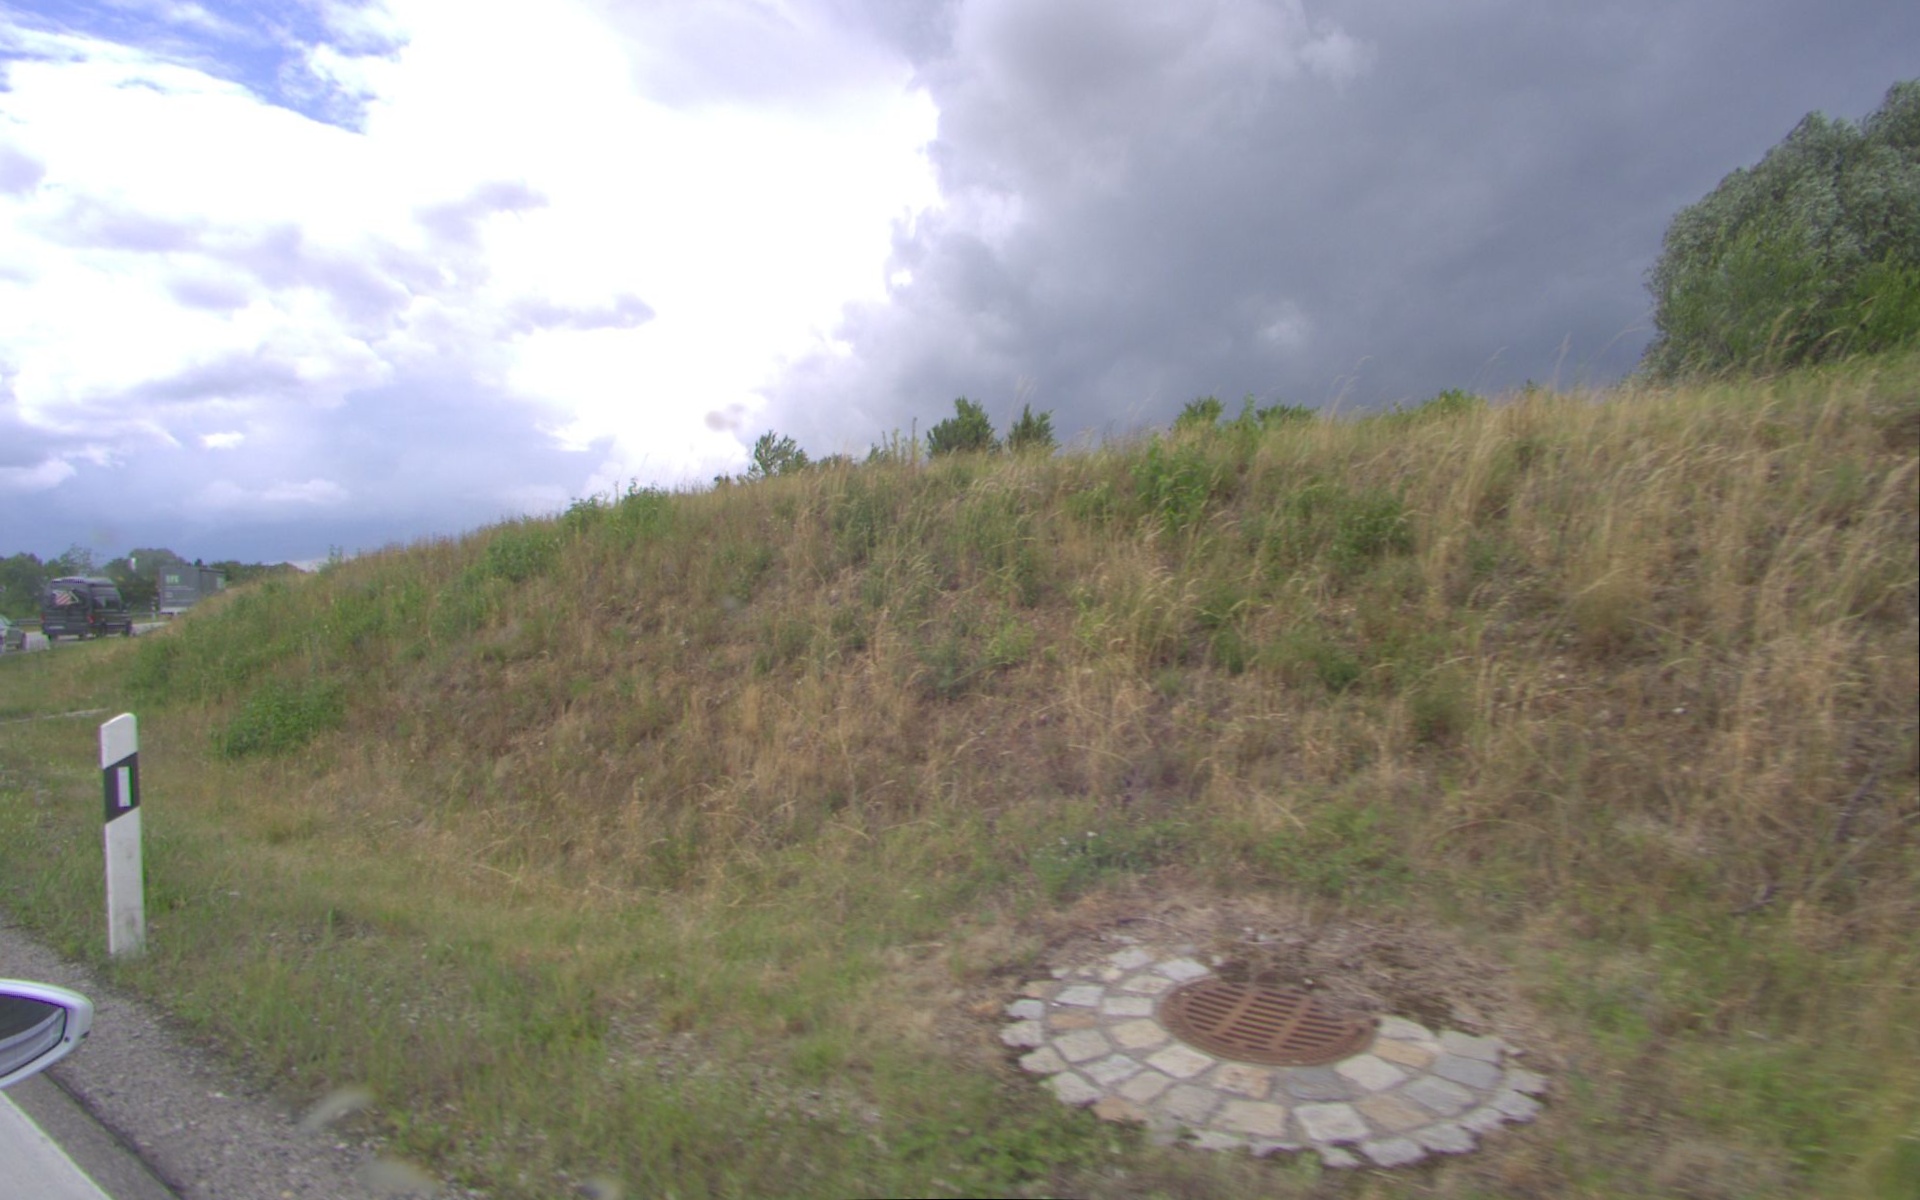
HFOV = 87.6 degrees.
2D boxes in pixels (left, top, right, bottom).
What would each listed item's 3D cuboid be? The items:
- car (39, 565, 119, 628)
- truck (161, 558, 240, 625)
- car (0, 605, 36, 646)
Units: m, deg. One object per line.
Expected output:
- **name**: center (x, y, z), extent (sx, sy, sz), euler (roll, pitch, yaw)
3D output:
- **car**: center (-41.436, -0.089, 47.210), extent (2.082, 2.832, 3.979), euler (1, -2, -31)
- **truck**: center (-48.716, -0.455, 64.400), extent (2.197, 3.955, 6.006), euler (0, -2, -19)
- **car**: center (-36.974, 0.989, 37.990), extent (1.844, 1.529, 3.983), euler (0, -1, -28)
